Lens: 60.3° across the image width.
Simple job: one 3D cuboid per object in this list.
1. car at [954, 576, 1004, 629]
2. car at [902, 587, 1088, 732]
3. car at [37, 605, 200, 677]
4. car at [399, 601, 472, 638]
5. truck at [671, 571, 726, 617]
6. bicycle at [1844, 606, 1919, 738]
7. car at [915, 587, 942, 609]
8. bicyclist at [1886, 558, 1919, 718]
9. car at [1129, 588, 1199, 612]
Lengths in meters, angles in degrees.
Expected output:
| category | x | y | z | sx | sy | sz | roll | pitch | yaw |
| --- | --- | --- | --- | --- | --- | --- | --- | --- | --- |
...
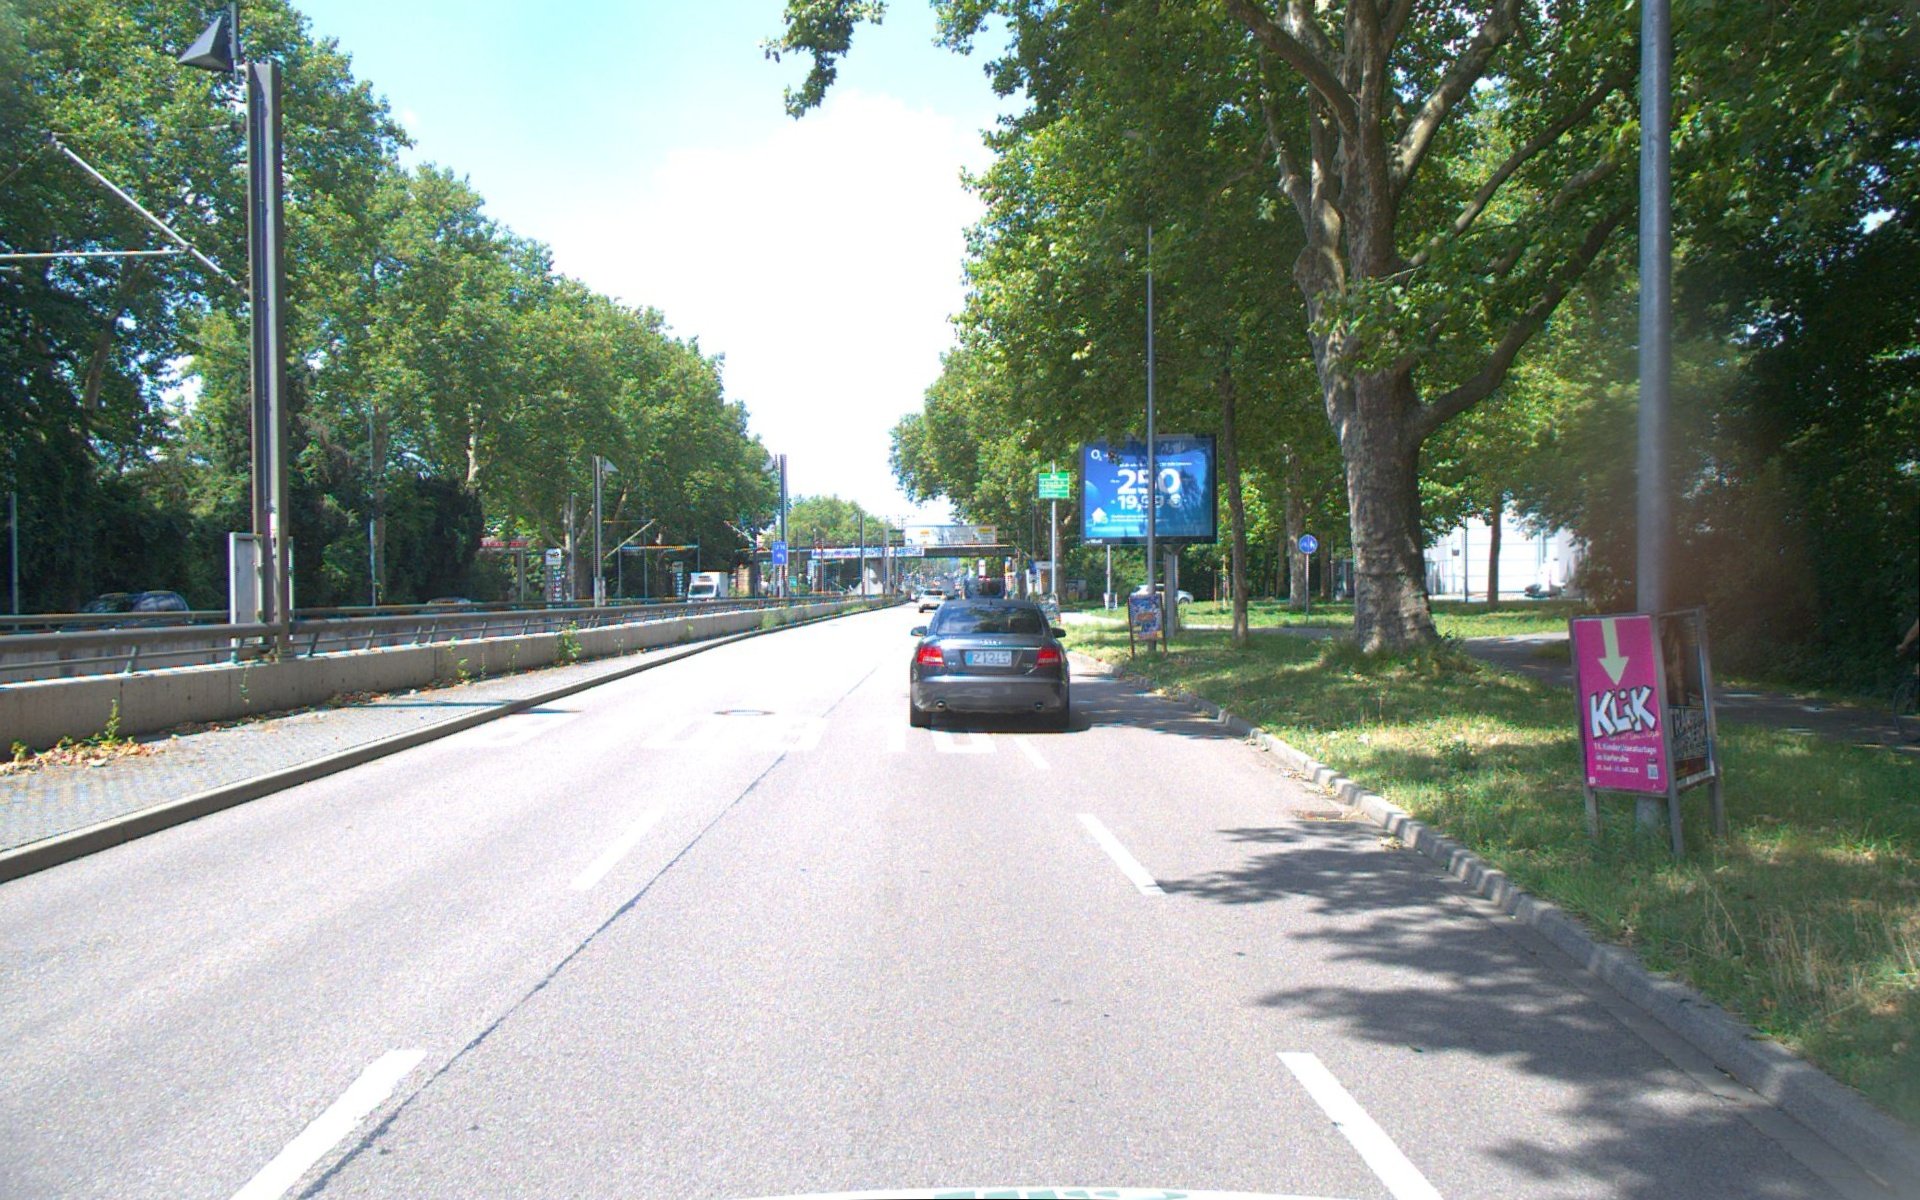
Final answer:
| category | x | y | z | sx | sy | sz | roll | pitch | yaw |
| --- | --- | --- | --- | --- | --- | --- | --- | --- | --- |
| car | 0.790 | 0.079 | 64.473 | 1.810 | 1.993 | 4.146 | 1 | 0 | 2 |
| car | 0.300 | 0.620 | 19.433 | 1.806 | 1.510 | 3.996 | 0 | 0 | -4 |
| car | -21.525 | 1.014 | 42.523 | 1.829 | 1.713 | 4.385 | 0 | 0 | 2 |
| car | -21.548 | 0.779 | 68.128 | 1.808 | 1.489 | 3.999 | 0 | 0 | -2 |
| truck | -17.913 | -0.404 | 113.712 | 2.931 | 3.073 | 7.994 | 0 | 0 | -4 |
| bicycle | 10.966 | 0.805 | 18.620 | 0.598 | 1.444 | 2.661 | -1 | 0 | 0 |
| car | -2.145 | -0.133 | 111.336 | 1.808 | 1.489 | 3.999 | 0 | 0 | -2 |
| bicyclist | 10.939 | 0.421 | 18.586 | 0.585 | 1.776 | 0.843 | 0 | 0 | 0 |
| car | 12.469 | 0.016 | 101.054 | 3.912 | 1.434 | 1.797 | 0 | 0 | -8 |
